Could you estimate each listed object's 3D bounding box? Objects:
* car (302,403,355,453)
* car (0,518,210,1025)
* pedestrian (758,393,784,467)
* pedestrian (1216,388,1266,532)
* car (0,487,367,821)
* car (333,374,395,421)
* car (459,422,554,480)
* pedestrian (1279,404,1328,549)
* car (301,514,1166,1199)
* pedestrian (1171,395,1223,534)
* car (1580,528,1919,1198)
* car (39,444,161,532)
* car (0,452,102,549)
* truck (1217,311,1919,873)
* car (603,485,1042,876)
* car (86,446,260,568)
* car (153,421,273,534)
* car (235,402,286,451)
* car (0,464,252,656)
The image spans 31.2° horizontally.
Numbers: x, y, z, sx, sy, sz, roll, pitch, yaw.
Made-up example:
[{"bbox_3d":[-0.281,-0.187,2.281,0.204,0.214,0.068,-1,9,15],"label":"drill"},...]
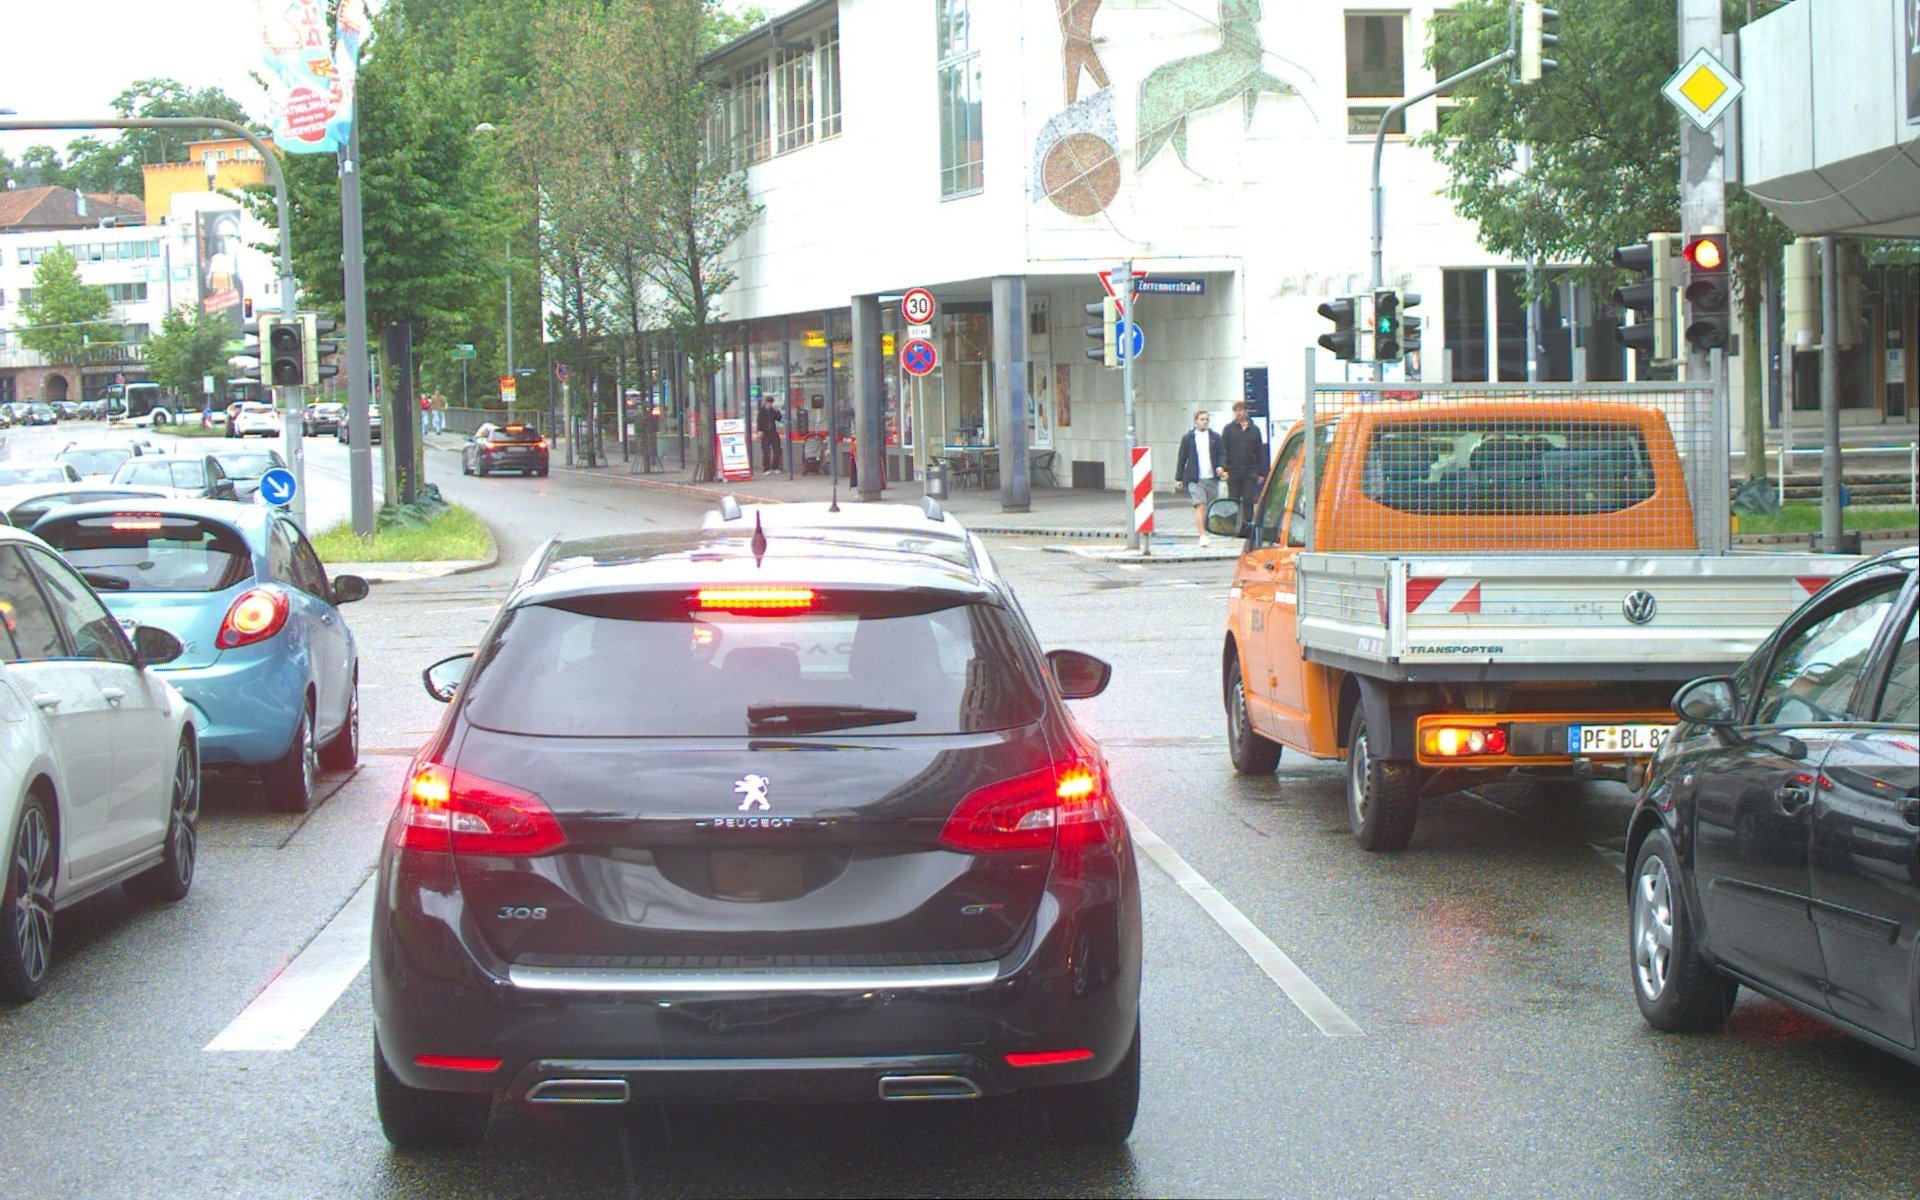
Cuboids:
[{"bbox_3d":[-27.067,-7.352,147.246,1.705,1.929,4.001,1,0,-18],"label":"car"},{"bbox_3d":[-3.723,0.455,11.446,1.777,1.424,3.843,0,2,-3],"label":"car"},{"bbox_3d":[-4.573,-4.102,83.064,0.468,1.742,0.541,1,0,-21],"label":"pedestrian"},{"bbox_3d":[3.758,-1.868,45.973,0.637,1.891,0.733,0,0,6],"label":"pedestrian"},{"bbox_3d":[-3.984,0.192,17.458,1.632,1.481,3.610,0,2,-5],"label":"car"},{"bbox_3d":[-22.646,-7.664,130.556,1.724,1.485,4.734,1,0,-17],"label":"car"},{"bbox_3d":[-12.260,-4.043,92.761,1.787,1.449,4.508,-4,4,-17],"label":"car"},{"bbox_3d":[4.575,-1.635,45.750,0.637,1.891,0.733,0,0,6],"label":"pedestrian"},{"bbox_3d":[-0.467,0.506,9.019,1.777,1.424,3.842,0,2,0],"label":"car"},{"bbox_3d":[3.051,-1.732,44.202,0.637,1.752,0.733,0,0,6],"label":"pedestrian"},{"bbox_3d":[2.832,0.558,8.670,1.616,1.424,3.843,0,2,-3],"label":"car"},{"bbox_3d":[-15.187,-1.996,60.823,1.632,1.481,3.611,0,2,-7],"label":"car"},{"bbox_3d":[-14.747,-1.607,54.795,1.632,1.481,3.611,0,2,-7],"label":"car"},{"bbox_3d":[2.585,-0.127,15.863,2.177,2.165,5.021,1,2,-3],"label":"truck"},{"bbox_3d":[-0.563,0.252,15.265,1.696,1.481,3.794,0,2,-1],"label":"car"},{"bbox_3d":[-10.919,-1.259,47.920,1.744,1.574,4.000,1,0,-4],"label":"car"},{"bbox_3d":[-11.839,-1.916,54.661,1.744,1.634,4.001,1,0,-11],"label":"car"},{"bbox_3d":[-29.702,-7.347,145.934,1.705,1.875,4.001,1,0,-18],"label":"car"},{"bbox_3d":[-7.941,-0.269,28.446,3.740,1.463,1.638,-3,0,-24],"label":"car"}]
